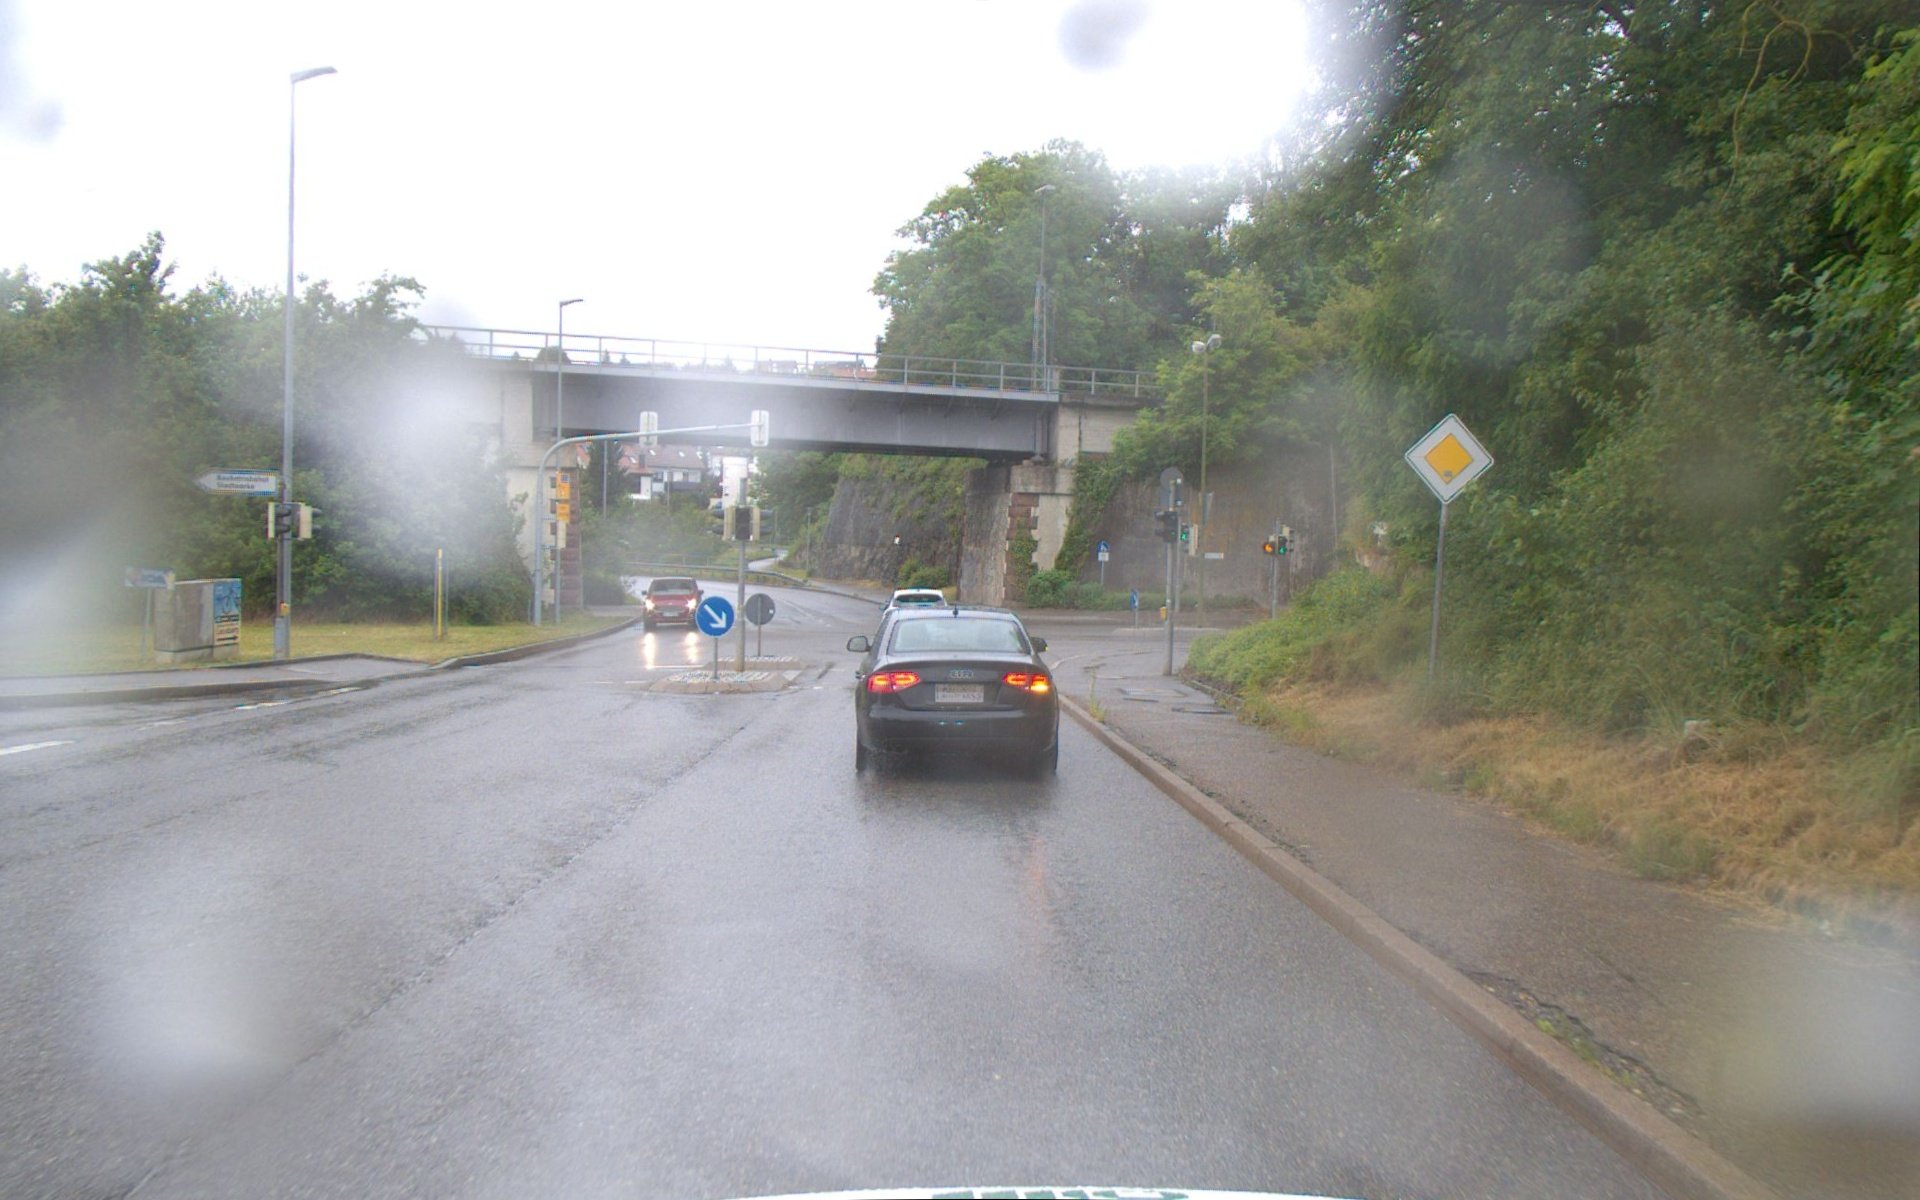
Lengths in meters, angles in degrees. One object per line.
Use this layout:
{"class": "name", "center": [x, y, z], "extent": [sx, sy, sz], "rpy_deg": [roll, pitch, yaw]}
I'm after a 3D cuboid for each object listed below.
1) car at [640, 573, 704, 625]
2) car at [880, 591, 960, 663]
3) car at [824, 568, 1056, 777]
{"class": "car", "center": [-9.633, -0.043, 55.637], "extent": [1.956, 1.657, 3.993], "rpy_deg": [0, 0, -8]}
{"class": "car", "center": [-0.930, 0.646, 39.162], "extent": [1.786, 1.613, 3.999], "rpy_deg": [0, -1, -1]}
{"class": "car", "center": [-0.194, 0.611, 15.143], "extent": [1.832, 1.645, 3.999], "rpy_deg": [0, -1, -1]}
